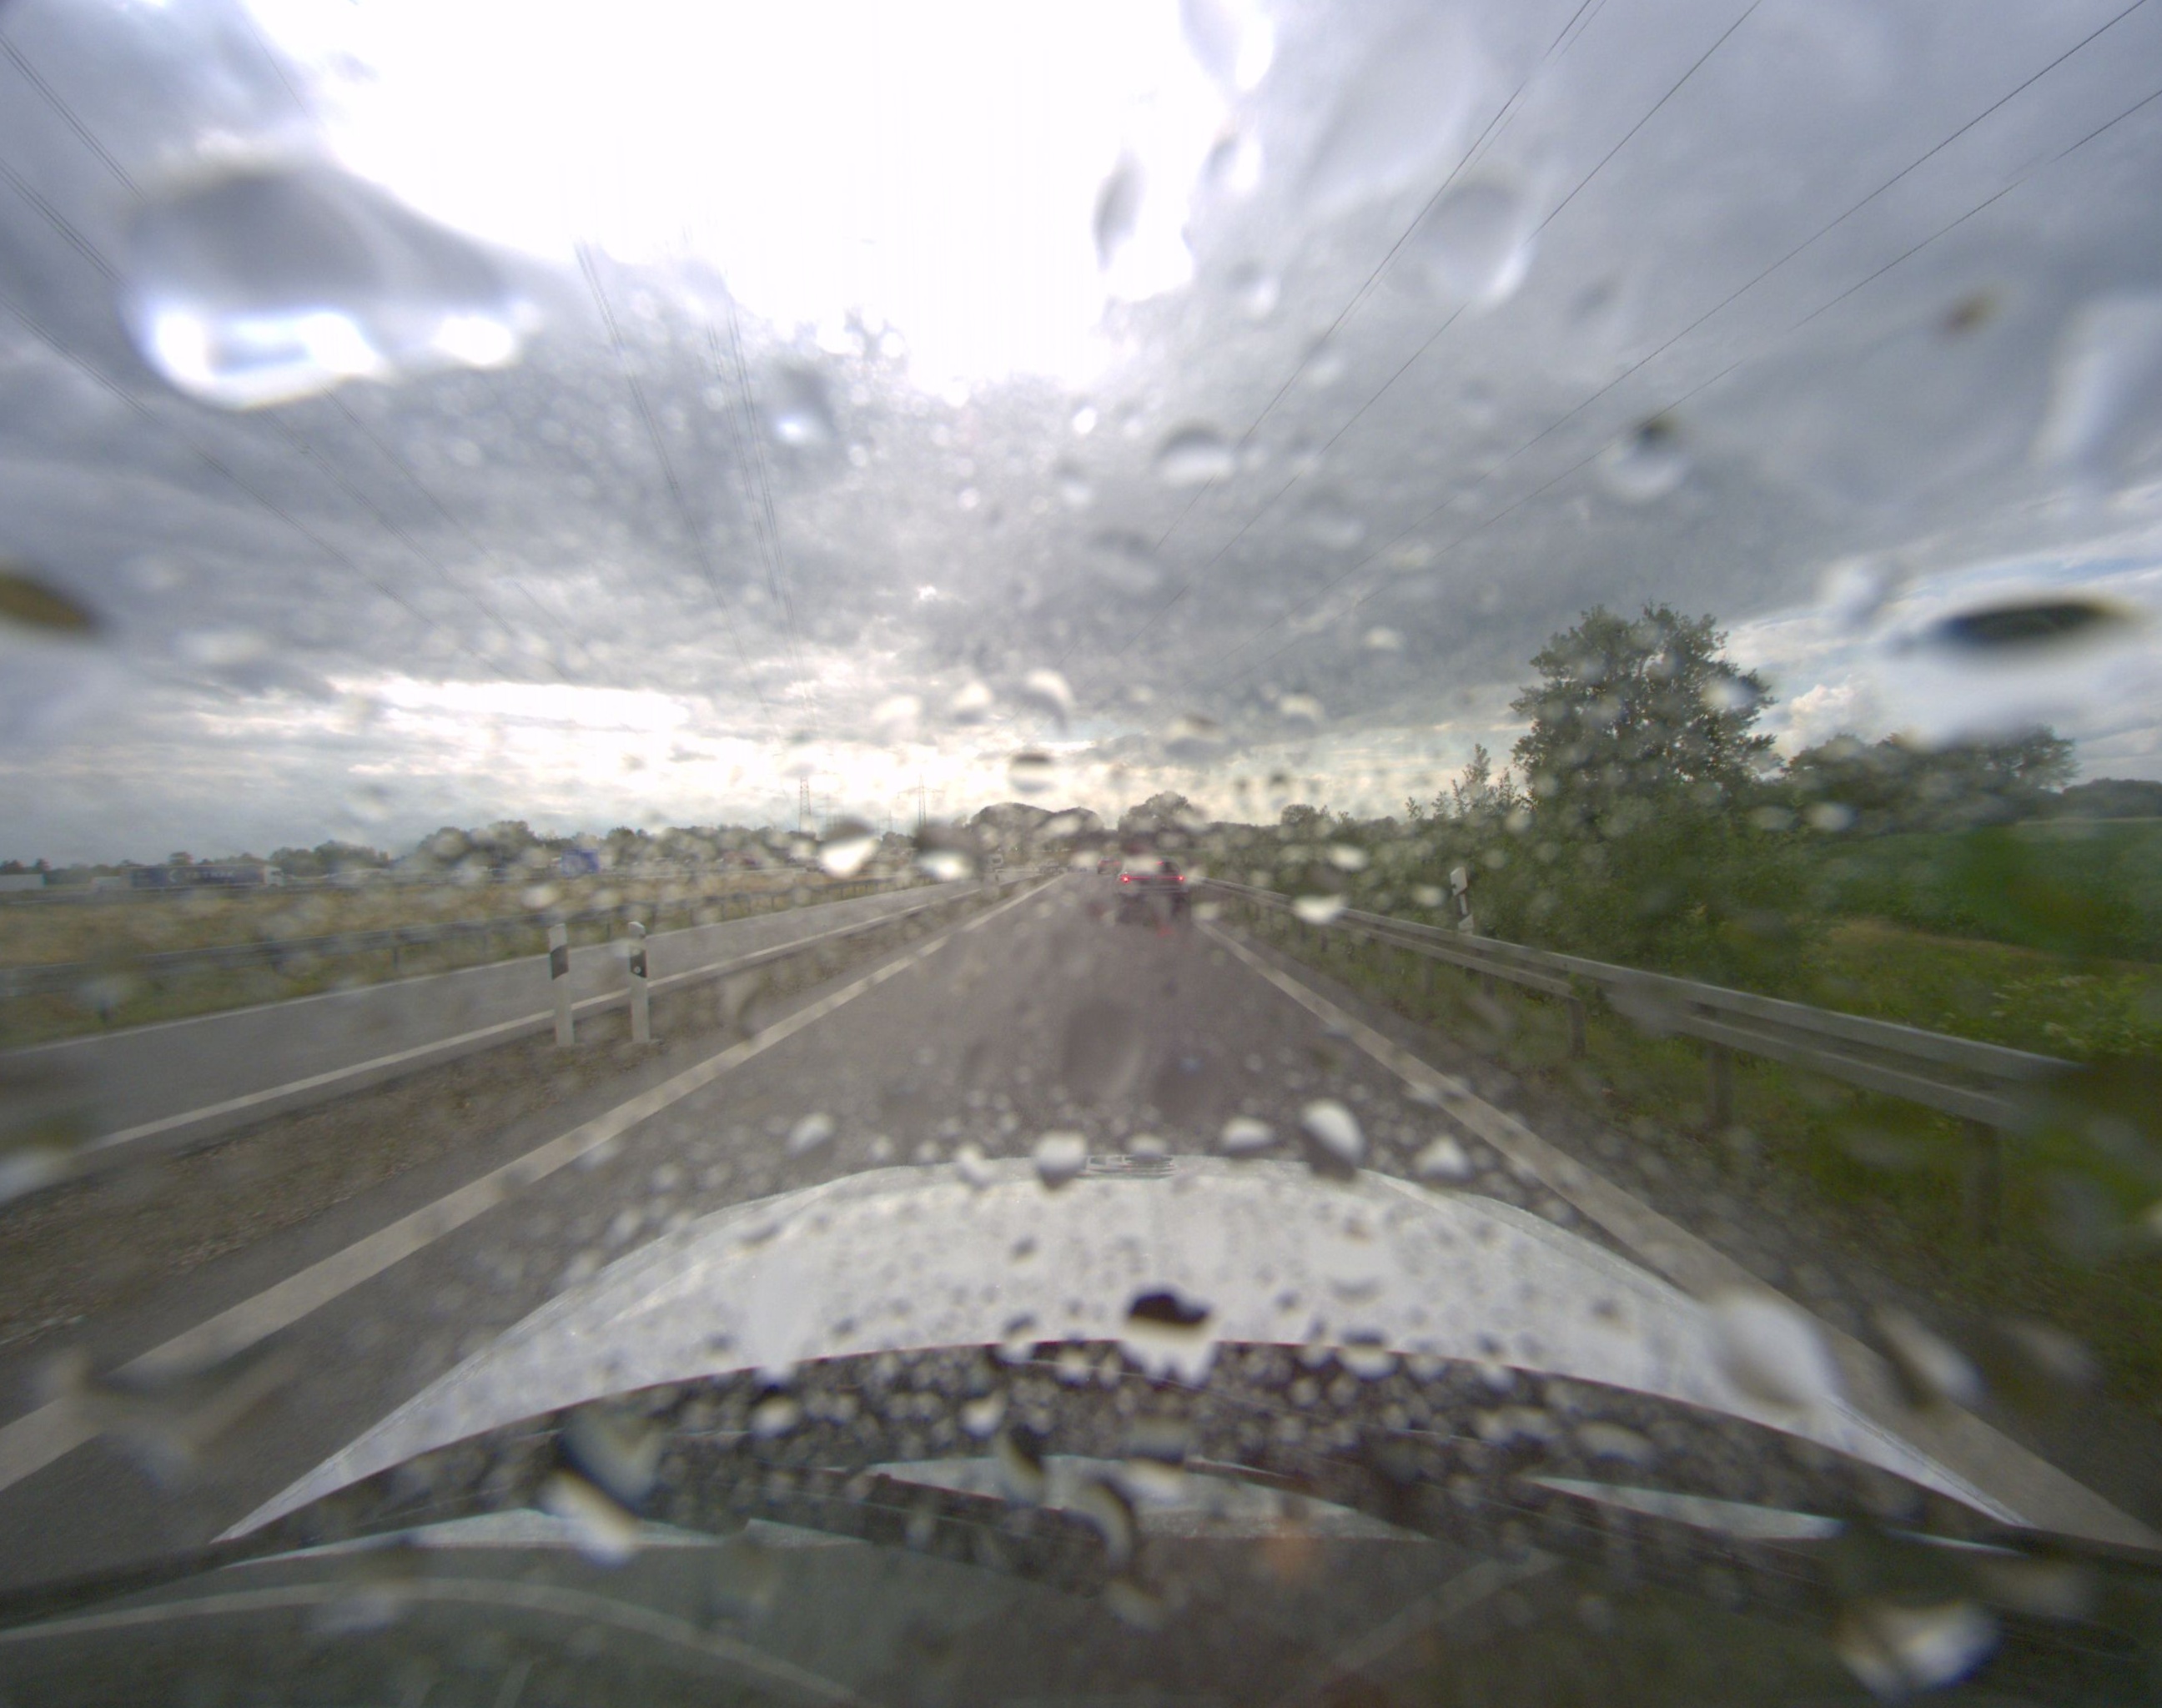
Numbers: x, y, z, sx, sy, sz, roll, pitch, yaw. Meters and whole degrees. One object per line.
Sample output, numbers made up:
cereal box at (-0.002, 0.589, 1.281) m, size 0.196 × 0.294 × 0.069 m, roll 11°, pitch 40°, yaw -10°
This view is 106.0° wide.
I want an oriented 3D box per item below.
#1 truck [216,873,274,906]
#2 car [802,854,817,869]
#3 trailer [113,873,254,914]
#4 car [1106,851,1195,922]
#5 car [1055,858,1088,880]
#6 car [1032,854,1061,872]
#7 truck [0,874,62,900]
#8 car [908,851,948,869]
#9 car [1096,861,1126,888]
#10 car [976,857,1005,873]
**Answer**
truck at (-126.287, 5.329, 123.094) m, size 3.045 × 4.479 × 5.096 m, roll -1°, pitch 2°, yaw 16°
car at (-68.556, 1.797, 205.803) m, size 3.393 × 3.610 × 8.989 m, roll -2°, pitch 0°, yaw -18°
trailer at (-128.208, 5.581, 116.802) m, size 3.023 × 4.634 × 13.366 m, roll -1°, pitch 2°, yaw 18°
car at (1.701, 0.731, 20.417) m, size 1.985 × 1.566 × 4.153 m, roll -1°, pitch 0°, yaw 4°
car at (-1.204, 1.757, 97.081) m, size 2.359 × 2.306 × 5.094 m, roll -3°, pitch 2°, yaw -20°
car at (-4.879, 1.195, 114.510) m, size 2.361 × 2.306 × 5.091 m, roll -3°, pitch 2°, yaw -22°
truck at (-160.483, 5.026, 123.487) m, size 1.978 × 3.470 × 7.143 m, roll -1°, pitch 2°, yaw 18°
car at (-27.317, 1.032, 145.010) m, size 7.117 × 2.951 × 3.166 m, roll 0°, pitch 3°, yaw 41°
car at (2.469, 1.660, 68.791) m, size 2.115 × 2.018 × 5.531 m, roll -2°, pitch 0°, yaw -1°
car at (-14.320, 1.658, 129.113) m, size 2.369 × 2.306 × 5.074 m, roll -3°, pitch 3°, yaw -34°
